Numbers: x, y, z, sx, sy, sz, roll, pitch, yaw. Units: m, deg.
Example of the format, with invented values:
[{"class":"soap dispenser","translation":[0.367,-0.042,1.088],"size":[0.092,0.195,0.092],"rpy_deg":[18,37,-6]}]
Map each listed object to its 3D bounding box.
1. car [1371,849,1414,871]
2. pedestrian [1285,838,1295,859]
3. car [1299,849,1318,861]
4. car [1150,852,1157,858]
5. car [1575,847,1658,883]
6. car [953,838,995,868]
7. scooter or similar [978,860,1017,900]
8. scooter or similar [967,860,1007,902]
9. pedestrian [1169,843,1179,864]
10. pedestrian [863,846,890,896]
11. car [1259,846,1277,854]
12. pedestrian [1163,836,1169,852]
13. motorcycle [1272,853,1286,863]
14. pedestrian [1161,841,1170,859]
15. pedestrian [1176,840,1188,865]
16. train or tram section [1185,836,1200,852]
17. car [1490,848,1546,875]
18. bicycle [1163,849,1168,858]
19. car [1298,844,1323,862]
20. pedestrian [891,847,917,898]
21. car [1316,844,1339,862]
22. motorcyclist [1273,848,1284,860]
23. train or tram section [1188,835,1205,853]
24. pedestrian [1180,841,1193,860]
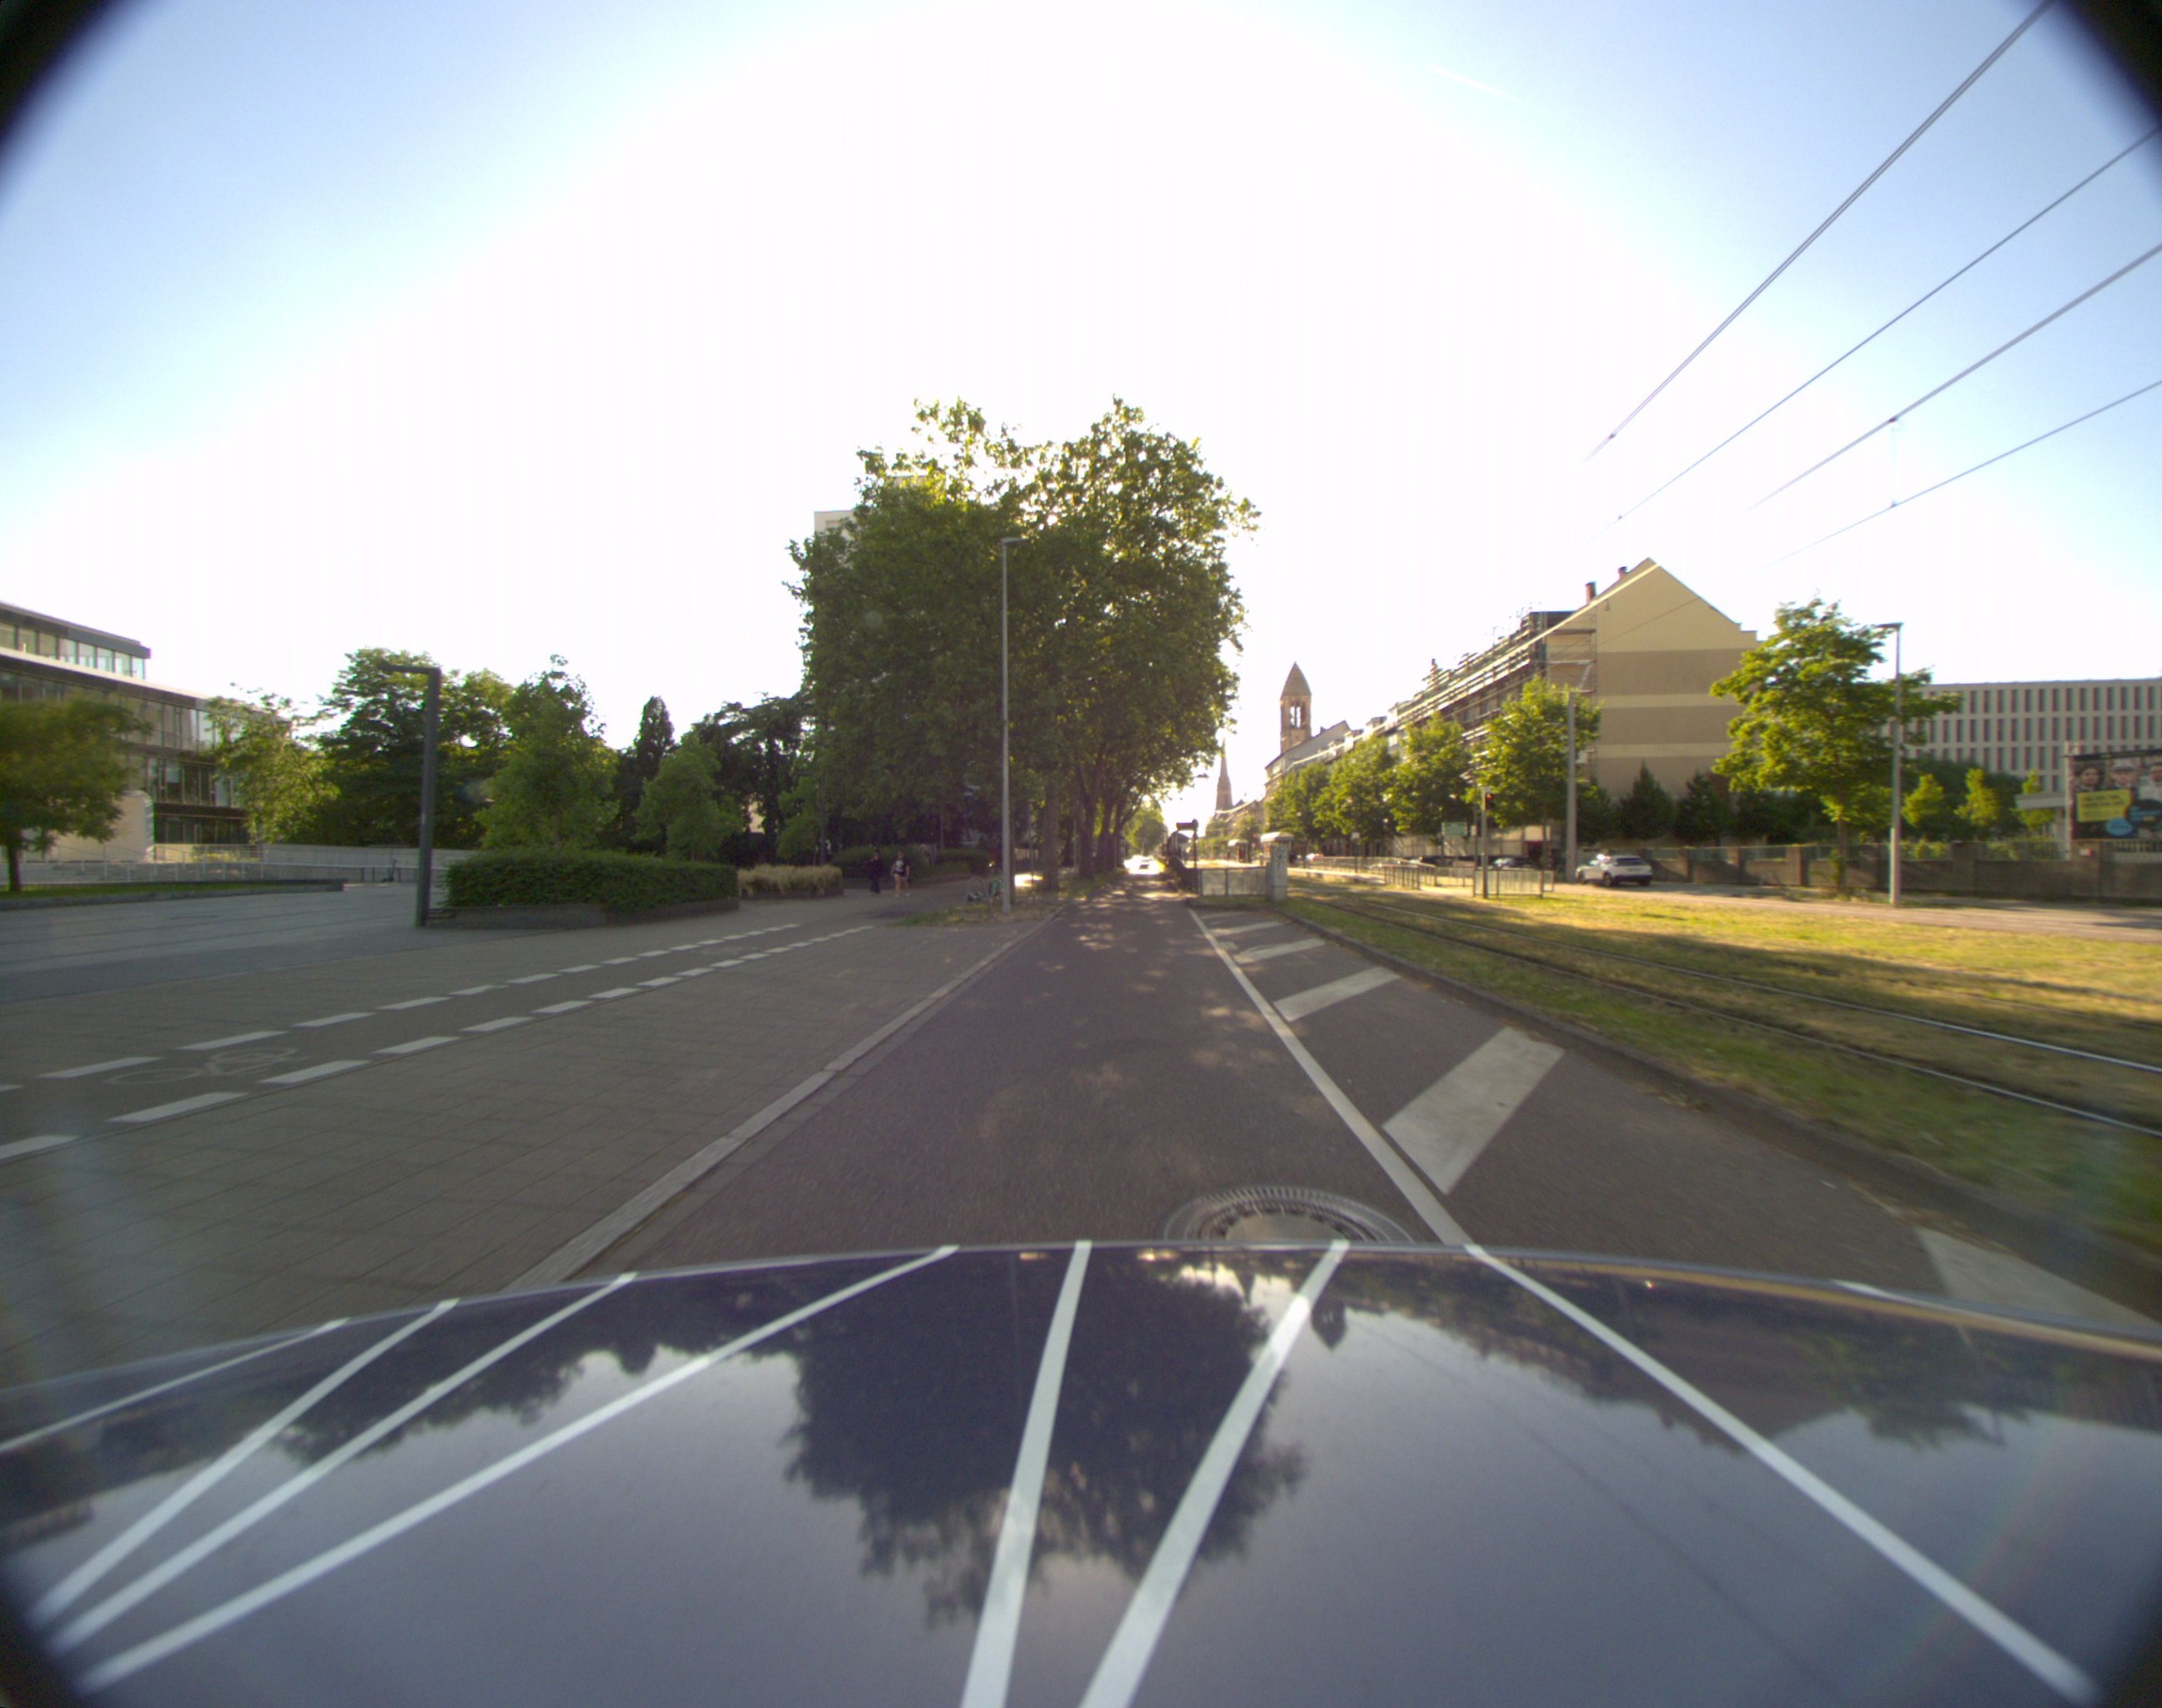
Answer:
[{"class":"car","translation":[21.505,0.395,52.611],"size":[1.609,1.399,3.852],"rpy_deg":[-3,0,5]},{"class":"pedestrian","translation":[17.833,-0.468,64.819],"size":[0.681,1.680,0.654],"rpy_deg":[-3,1,3]},{"class":"car","translation":[32.935,0.163,110.042],"size":[1.810,1.667,3.786],"rpy_deg":[-3,0,5]},{"class":"car","translation":[18.036,0.219,189.773],"size":[1.636,1.491,4.001],"rpy_deg":[1,1,5]},{"class":"car","translation":[26.488,0.504,37.724],"size":[1.724,1.577,4.067],"rpy_deg":[-3,0,9]},{"class":"car","translation":[-9.406,-0.134,67.602],"size":[1.997,2.485,6.349],"rpy_deg":[-3,0,7]},{"class":"scooter or similar","translation":[-2.633,0.811,24.101],"size":[1.054,1.237,0.841],"rpy_deg":[0,1,8]},{"class":"scooter or similar","translation":[-2.860,0.816,23.225],"size":[1.054,1.237,0.841],"rpy_deg":[0,1,8]},{"class":"pedestrian","translation":[7.357,-0.036,60.132],"size":[0.680,1.680,0.895],"rpy_deg":[-3,1,5]},{"class":"pedestrian","translation":[-6.821,0.565,25.385],"size":[0.651,1.647,0.783],"rpy_deg":[1,1,5]},{"class":"car","translation":[47.638,-0.949,193.524],"size":[4.023,1.795,1.871],"rpy_deg":[-3,1,6]},{"class":"pedestrian","translation":[10.740,-1.254,95.671],"size":[0.600,1.984,0.825],"rpy_deg":[-3,1,10]},{"class":"motorcycle","translation":[21.904,0.412,84.093],"size":[0.820,1.067,2.402],"rpy_deg":[-3,0,0]},{"class":"pedestrian","translation":[8.579,-0.394,77.050],"size":[0.766,1.748,0.695],"rpy_deg":[-3,1,5]},{"class":"pedestrian","translation":[6.994,-0.095,52.737],"size":[0.758,1.680,0.678],"rpy_deg":[-3,1,5]},{"class":"train or tram section","translation":[26.560,-2.295,181.316],"size":[2.875,3.654,14.564],"rpy_deg":[-1,1,5]},{"class":"car","translation":[27.851,0.435,48.605],"size":[1.724,1.577,4.067],"rpy_deg":[-3,0,9]},{"class":"bicycle","translation":[10.495,-0.058,93.989],"size":[0.514,1.127,2.104],"rpy_deg":[-3,1,5]},{"class":"car","translation":[24.639,-0.103,81.589],"size":[1.868,1.795,4.029],"rpy_deg":[-3,0,7]},{"class":"pedestrian","translation":[-5.872,0.596,25.250],"size":[0.629,1.647,0.740],"rpy_deg":[1,1,5]},{"class":"car","translation":[31.909,-0.112,98.508],"size":[1.944,2.154,3.786],"rpy_deg":[-3,1,5]},{"class":"motorcyclist","translation":[21.884,-0.024,84.310],"size":[0.820,1.292,1.276],"rpy_deg":[-3,1,0]},{"class":"train or tram section","translation":[25.217,-2.136,166.816],"size":[2.875,3.664,14.564],"rpy_deg":[-1,1,5]},{"class":"pedestrian","translation":[9.625,-0.308,69.237],"size":[0.912,1.712,0.630],"rpy_deg":[-3,1,-28]}]
